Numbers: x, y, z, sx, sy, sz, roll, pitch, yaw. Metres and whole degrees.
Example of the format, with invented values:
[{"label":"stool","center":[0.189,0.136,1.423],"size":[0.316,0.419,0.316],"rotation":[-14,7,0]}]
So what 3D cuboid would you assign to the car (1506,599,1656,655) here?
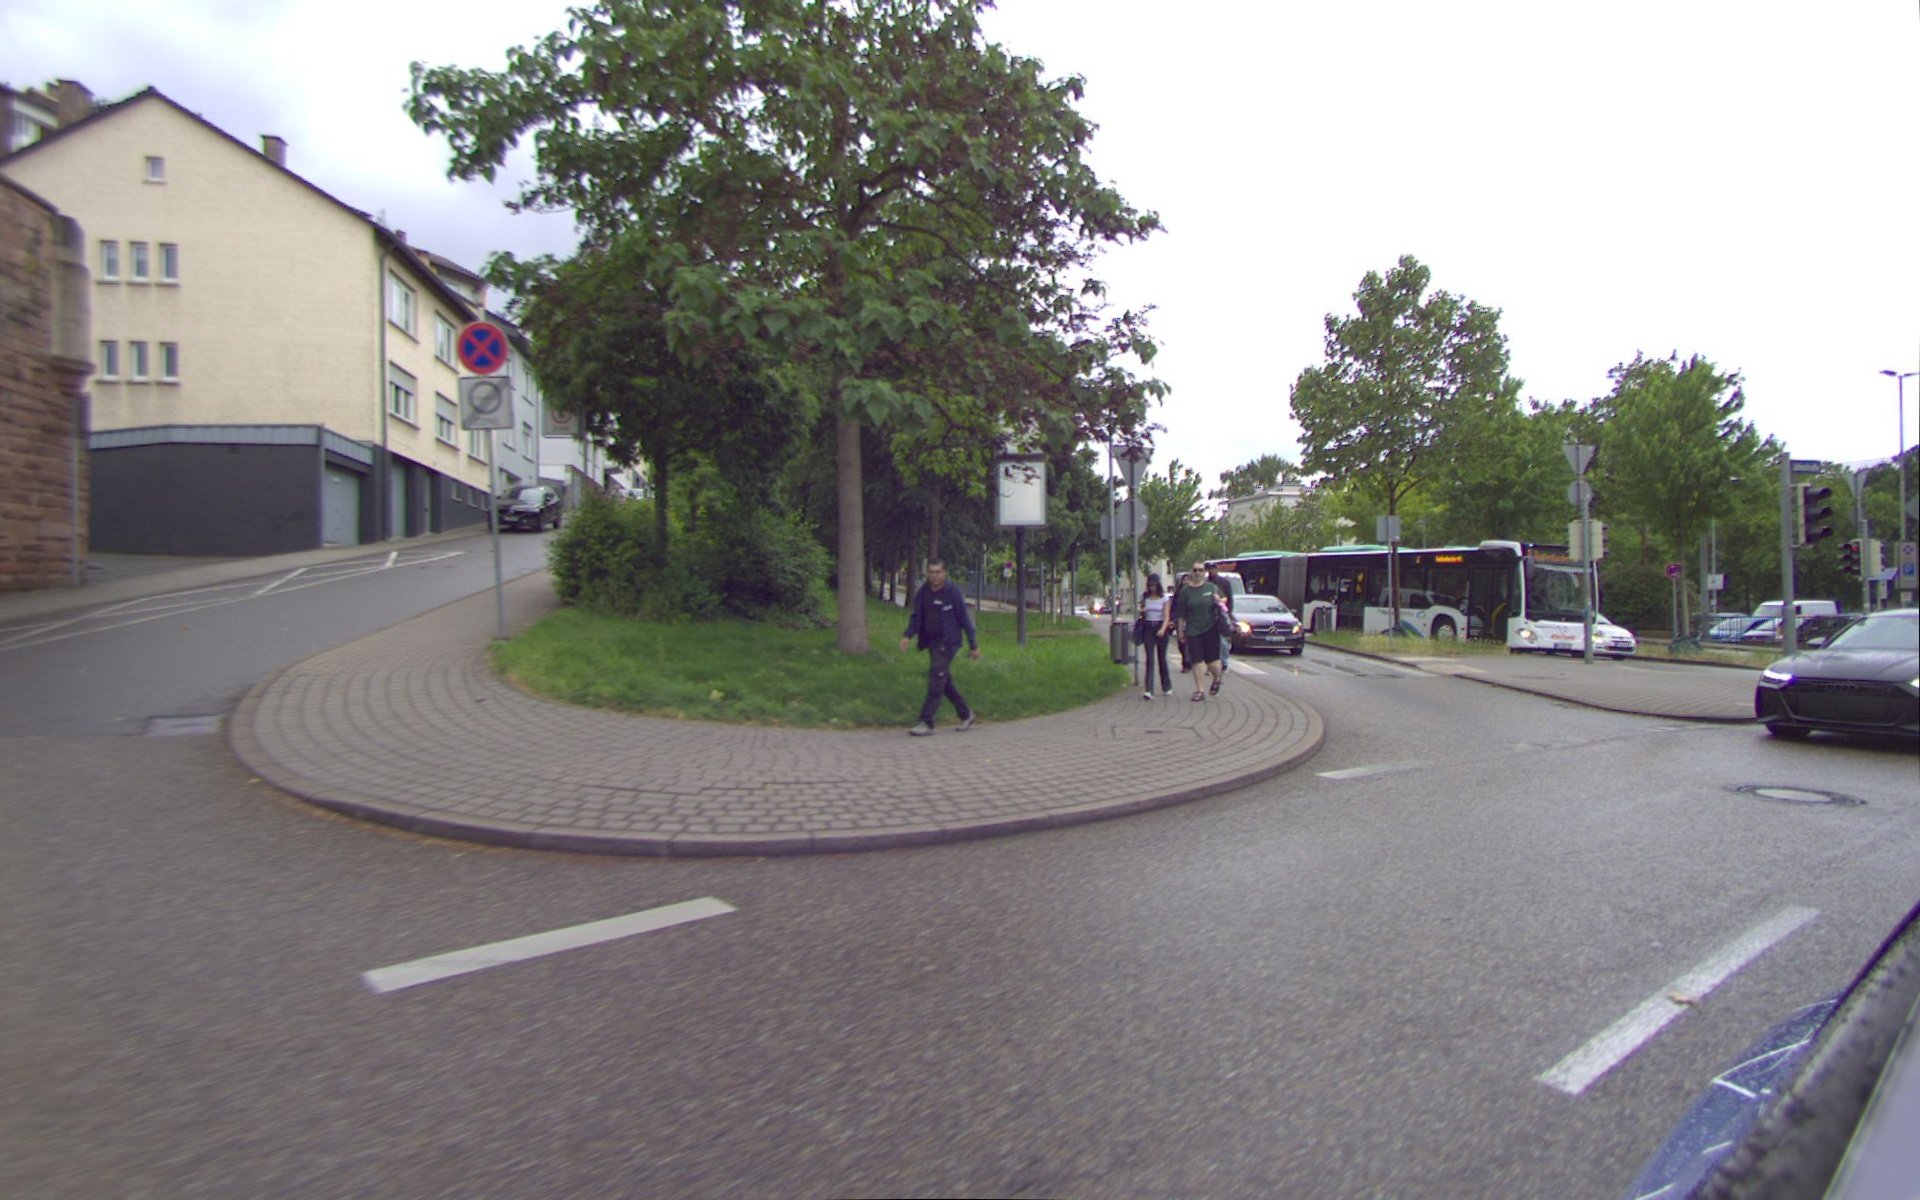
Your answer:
[{"label":"car","center":[17.606,0.735,28.891],"size":[1.557,1.470,3.576],"rotation":[2,-1,-14]}]

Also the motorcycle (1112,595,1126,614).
[{"label":"motorcycle","center":[9.703,0.251,61.937],"size":[0.560,1.133,2.687],"rotation":[0,0,3]}]

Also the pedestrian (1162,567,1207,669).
[{"label":"pedestrian","center":[3.889,0.301,17.550],"size":[0.555,1.727,0.521],"rotation":[2,1,38]}]

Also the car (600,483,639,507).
[{"label":"car","center":[-20.172,-6.243,60.051],"size":[1.736,1.327,4.013],"rotation":[2,6,-12]}]

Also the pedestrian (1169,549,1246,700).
[{"label":"pedestrian","center":[3.180,0.292,13.001],"size":[0.737,1.852,0.687],"rotation":[3,2,29]}]

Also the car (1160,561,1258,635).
[{"label":"car","center":[8.284,-0.107,34.348],"size":[2.215,2.262,6.335],"rotation":[0,1,5]}]

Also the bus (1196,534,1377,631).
[{"label":"bus","center":[12.139,-0.551,38.700],"size":[2.632,3.221,8.575],"rotation":[2,-1,-12]}]

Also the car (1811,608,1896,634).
[{"label":"car","center":[46.055,1.068,52.192],"size":[3.556,1.252,1.536],"rotation":[1,0,-15]}]

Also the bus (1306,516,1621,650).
[{"label":"bus","center":[14.142,-0.488,29.781],"size":[2.648,3.257,9.679],"rotation":[1,1,-13]}]

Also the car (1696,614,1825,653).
[{"label":"car","center":[31.687,1.309,40.074],"size":[4.172,1.458,1.860],"rotation":[1,0,-15]}]

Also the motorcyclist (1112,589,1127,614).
[{"label":"motorcyclist","center":[9.726,0.087,61.843],"size":[0.792,1.455,1.239],"rotation":[0,0,3]}]

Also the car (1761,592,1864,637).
[{"label":"car","center":[46.772,0.809,55.546],"size":[4.907,2.349,1.977],"rotation":[1,0,-18]}]

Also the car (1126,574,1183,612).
[{"label":"car","center":[9.020,-0.297,47.300],"size":[1.964,1.673,4.871],"rotation":[0,0,3]}]

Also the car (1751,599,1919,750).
[{"label":"car","center":[10.871,0.728,11.088],"size":[4.272,1.422,1.900],"rotation":[0,0,-28]}]

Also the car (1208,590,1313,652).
[{"label":"car","center":[7.535,0.467,25.721],"size":[1.764,1.391,4.091],"rotation":[0,1,5]}]

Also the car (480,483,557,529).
[{"label":"car","center":[-16.434,-3.536,37.830],"size":[1.867,1.553,4.013],"rotation":[2,6,-12]}]

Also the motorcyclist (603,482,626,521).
[{"label":"motorcyclist","center":[-15.378,-4.381,45.015],"size":[0.818,1.663,0.971],"rotation":[2,5,-12]}]

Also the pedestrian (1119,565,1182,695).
[{"label":"pedestrian","center":[2.491,0.369,13.203],"size":[0.596,1.619,0.701],"rotation":[3,2,26]}]

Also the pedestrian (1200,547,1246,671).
[{"label":"pedestrian","center":[4.474,0.145,17.175],"size":[0.582,2.039,0.781],"rotation":[2,1,24]}]

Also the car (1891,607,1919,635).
[{"label":"car","center":[60.388,1.312,62.696],"size":[4.533,1.691,1.977],"rotation":[1,0,-18]}]

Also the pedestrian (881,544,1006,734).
[{"label":"pedestrian","center":[-0.149,0.357,9.604],"size":[0.947,1.707,0.571],"rotation":[4,0,-43]}]
